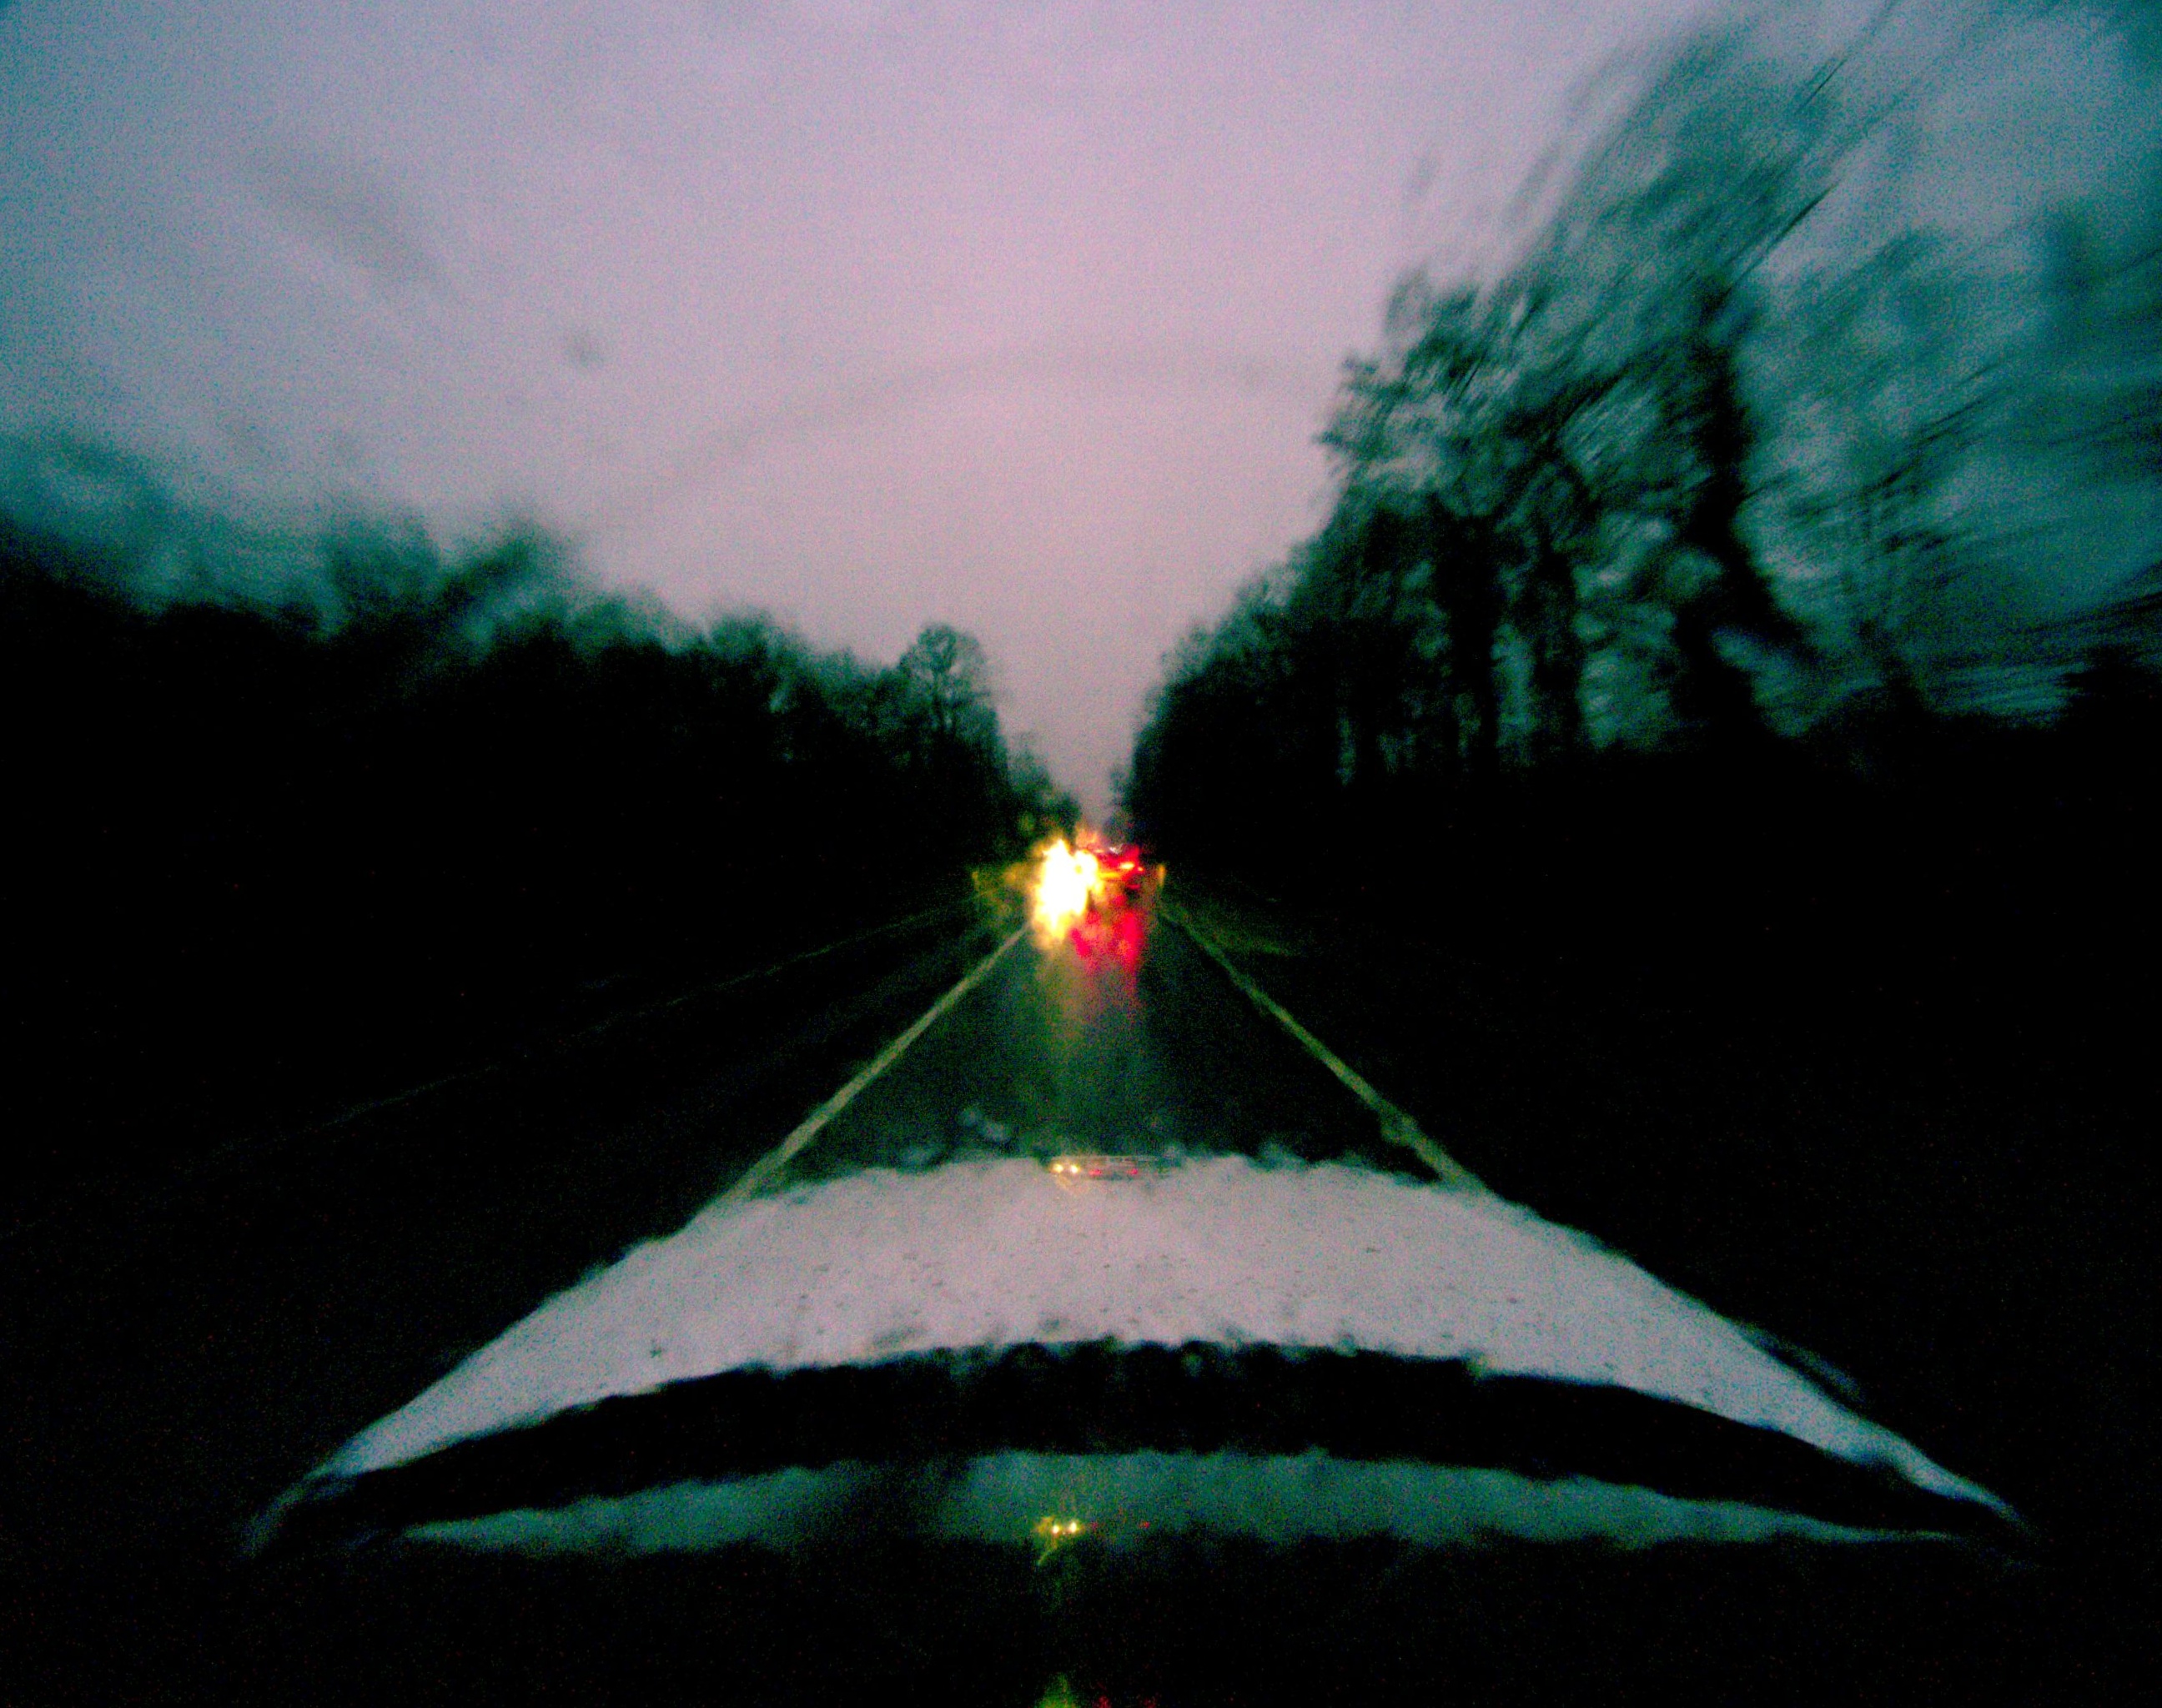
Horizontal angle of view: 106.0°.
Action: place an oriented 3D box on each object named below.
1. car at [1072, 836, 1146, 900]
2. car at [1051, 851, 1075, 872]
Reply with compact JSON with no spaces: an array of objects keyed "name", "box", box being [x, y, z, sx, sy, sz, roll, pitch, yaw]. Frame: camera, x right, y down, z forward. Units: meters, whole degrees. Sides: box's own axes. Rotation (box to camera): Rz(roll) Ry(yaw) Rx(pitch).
[{"name":"car","box":[0.882,0.408,26.720,2.190,1.877,4.828,0,0,1]},{"name":"car","box":[-1.405,0.570,65.146,1.592,1.495,3.897,-3,0,2]}]
